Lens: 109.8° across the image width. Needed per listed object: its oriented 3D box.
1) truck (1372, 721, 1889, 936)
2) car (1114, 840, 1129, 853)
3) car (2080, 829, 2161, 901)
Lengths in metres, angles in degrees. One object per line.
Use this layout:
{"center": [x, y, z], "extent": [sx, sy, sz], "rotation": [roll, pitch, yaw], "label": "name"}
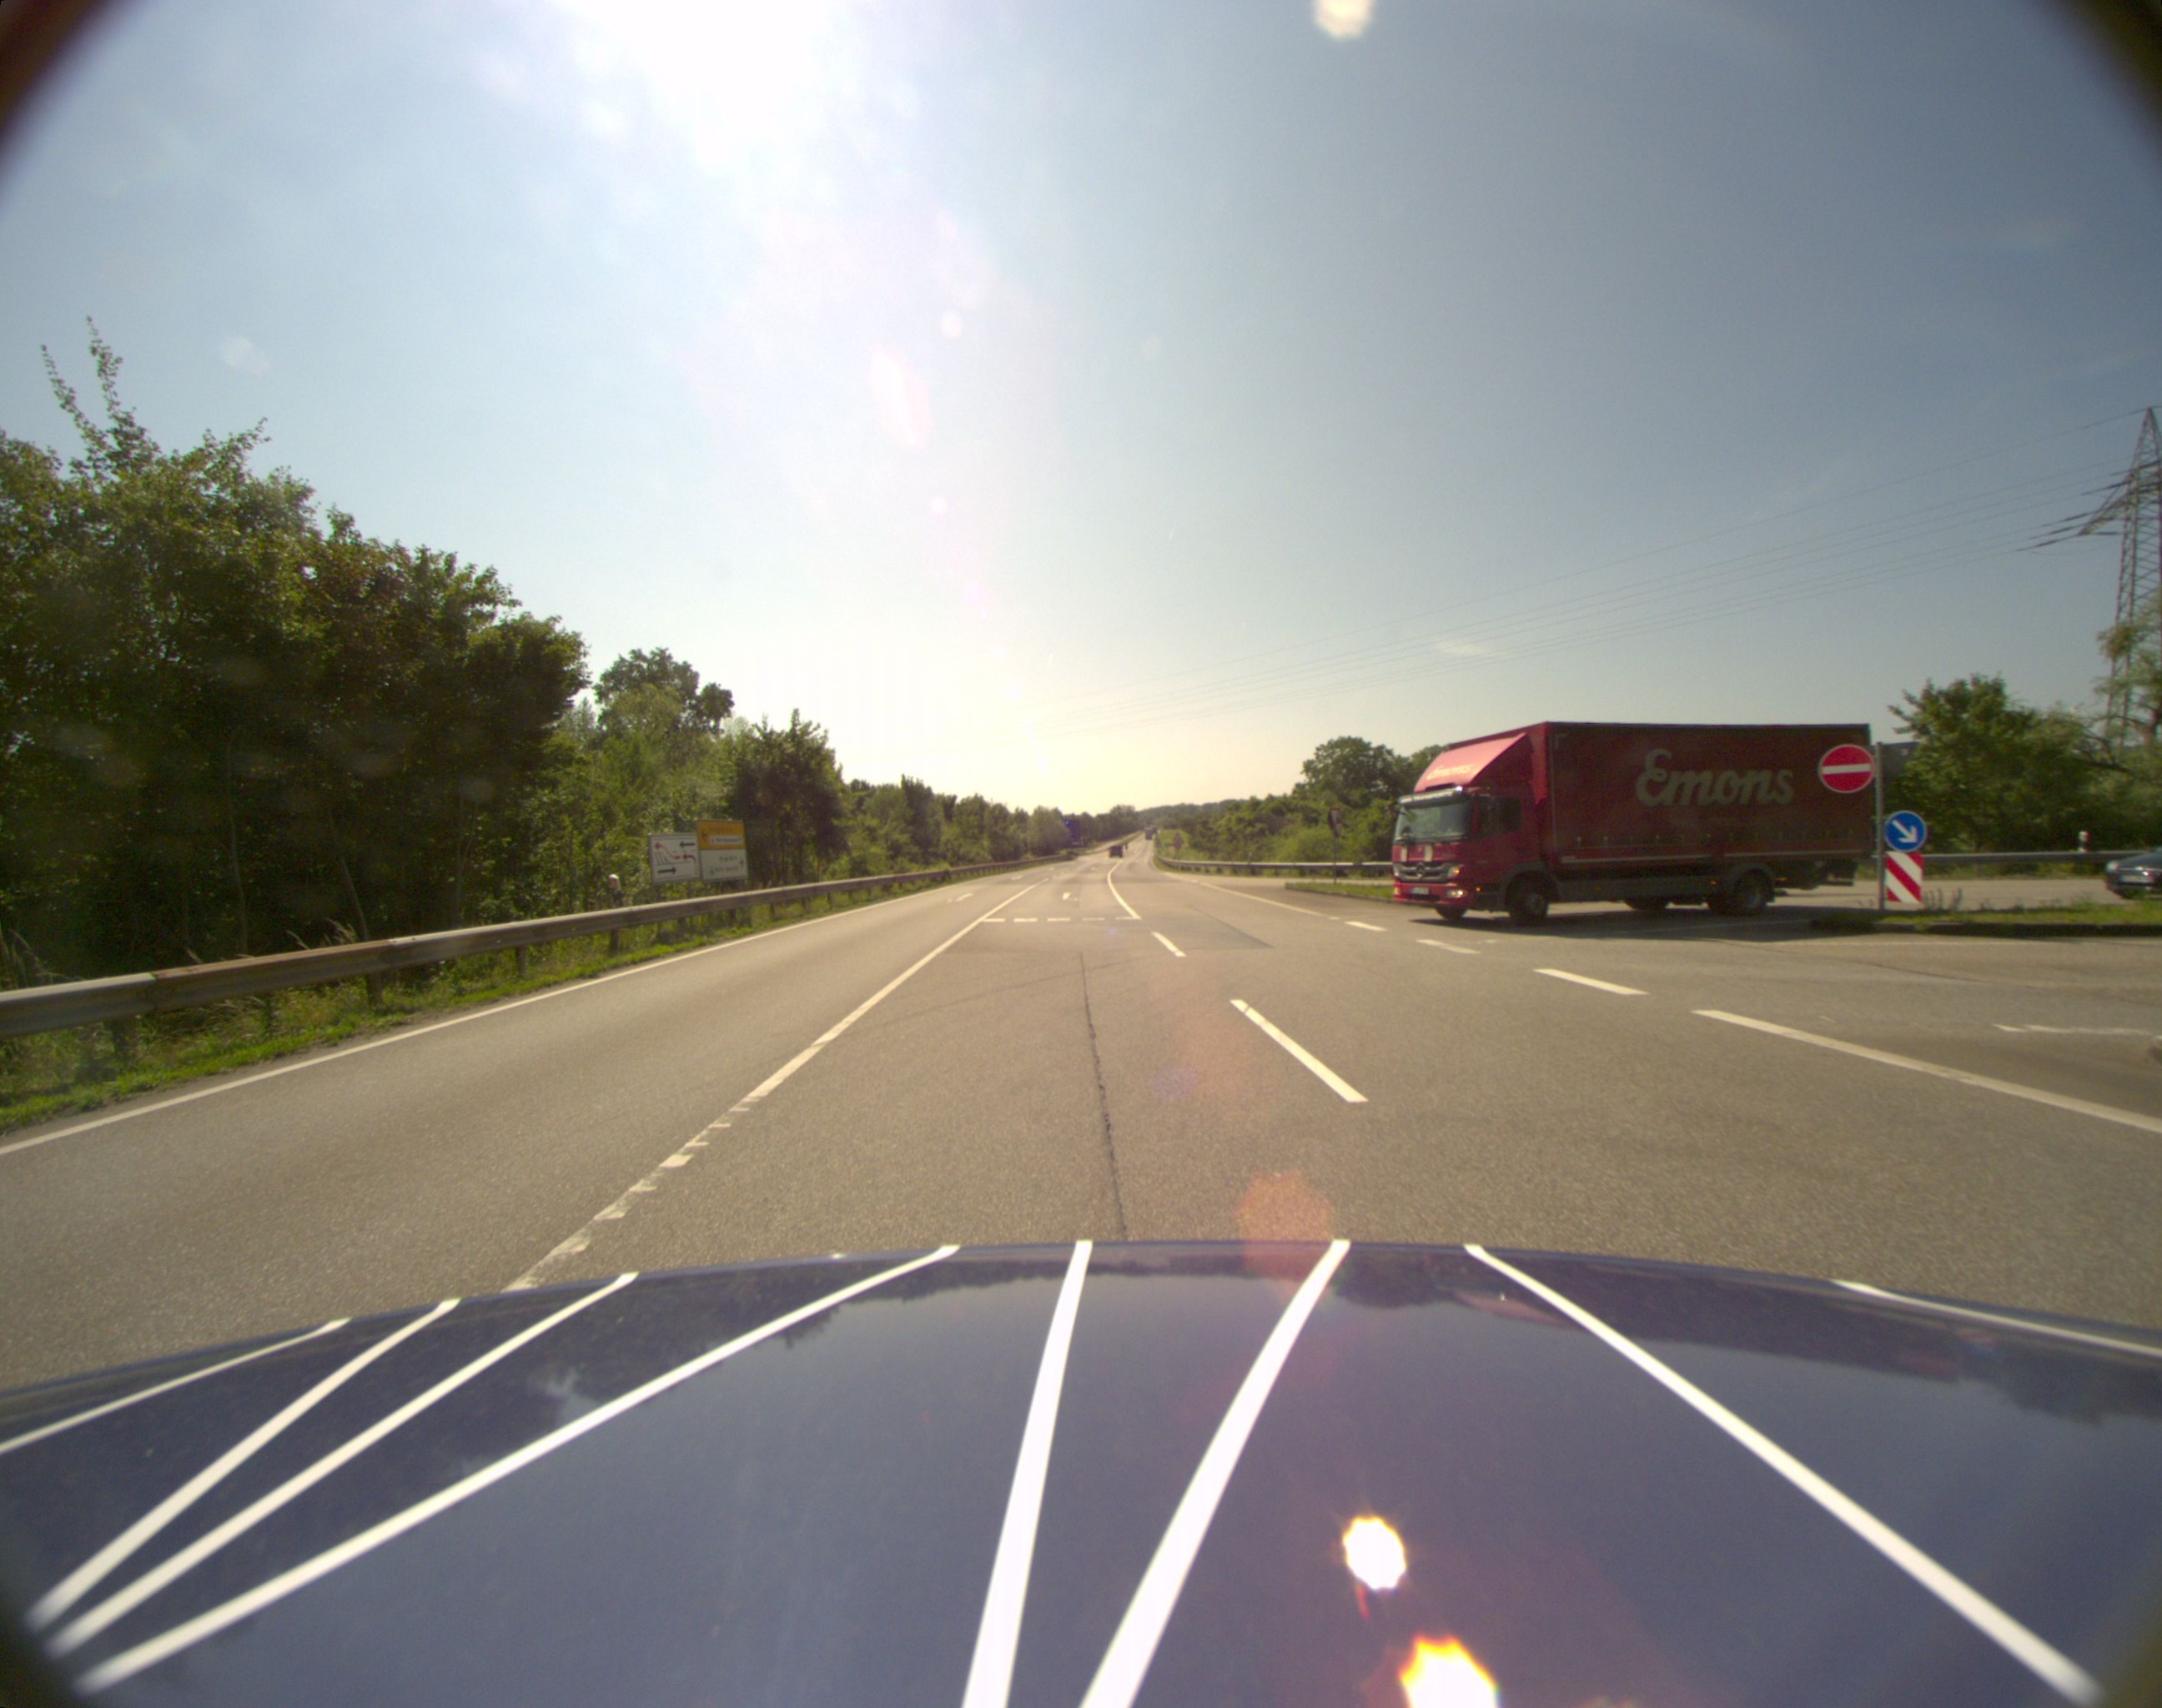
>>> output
{"center": [10.770, -0.550, 15.079], "extent": [9.264, 3.640, 2.688], "rotation": [-1, 1, -11], "label": "truck"}
{"center": [6.252, -1.104, 116.715], "extent": [1.998, 1.868, 4.996], "rotation": [-1, 0, 6], "label": "car"}
{"center": [23.218, 0.171, 15.217], "extent": [3.996, 1.406, 1.788], "rotation": [-1, 1, 2], "label": "car"}
